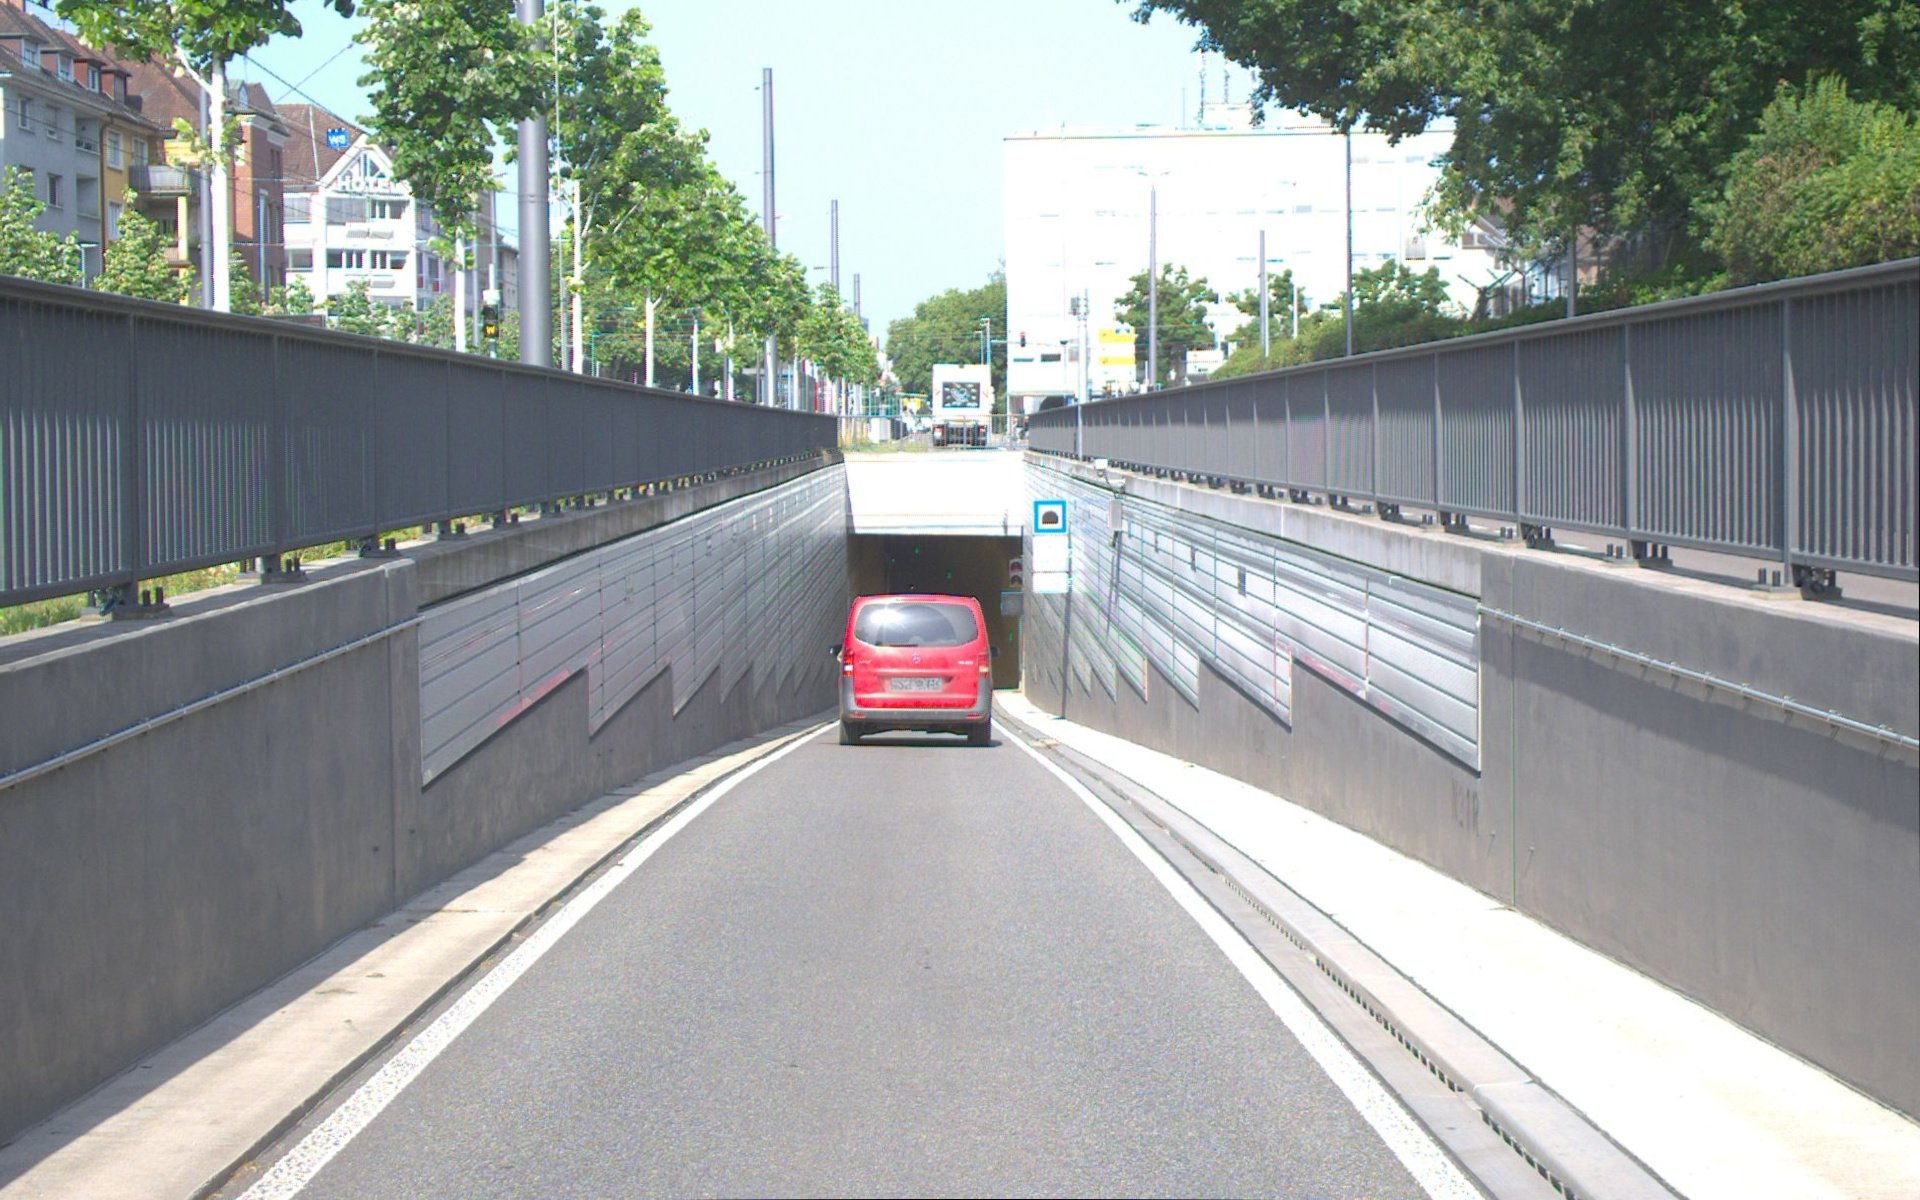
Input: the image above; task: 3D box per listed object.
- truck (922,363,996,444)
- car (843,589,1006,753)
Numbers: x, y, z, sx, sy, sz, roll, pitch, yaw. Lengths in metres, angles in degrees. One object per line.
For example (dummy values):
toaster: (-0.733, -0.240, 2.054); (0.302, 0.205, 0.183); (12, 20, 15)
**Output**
truck: (-0.104, -9.288, 163.968); (3.391, 3.713, 10.453); (0, 3, -1)
car: (-0.450, 0.845, 43.227); (1.901, 1.853, 4.000); (2, 1, -1)
